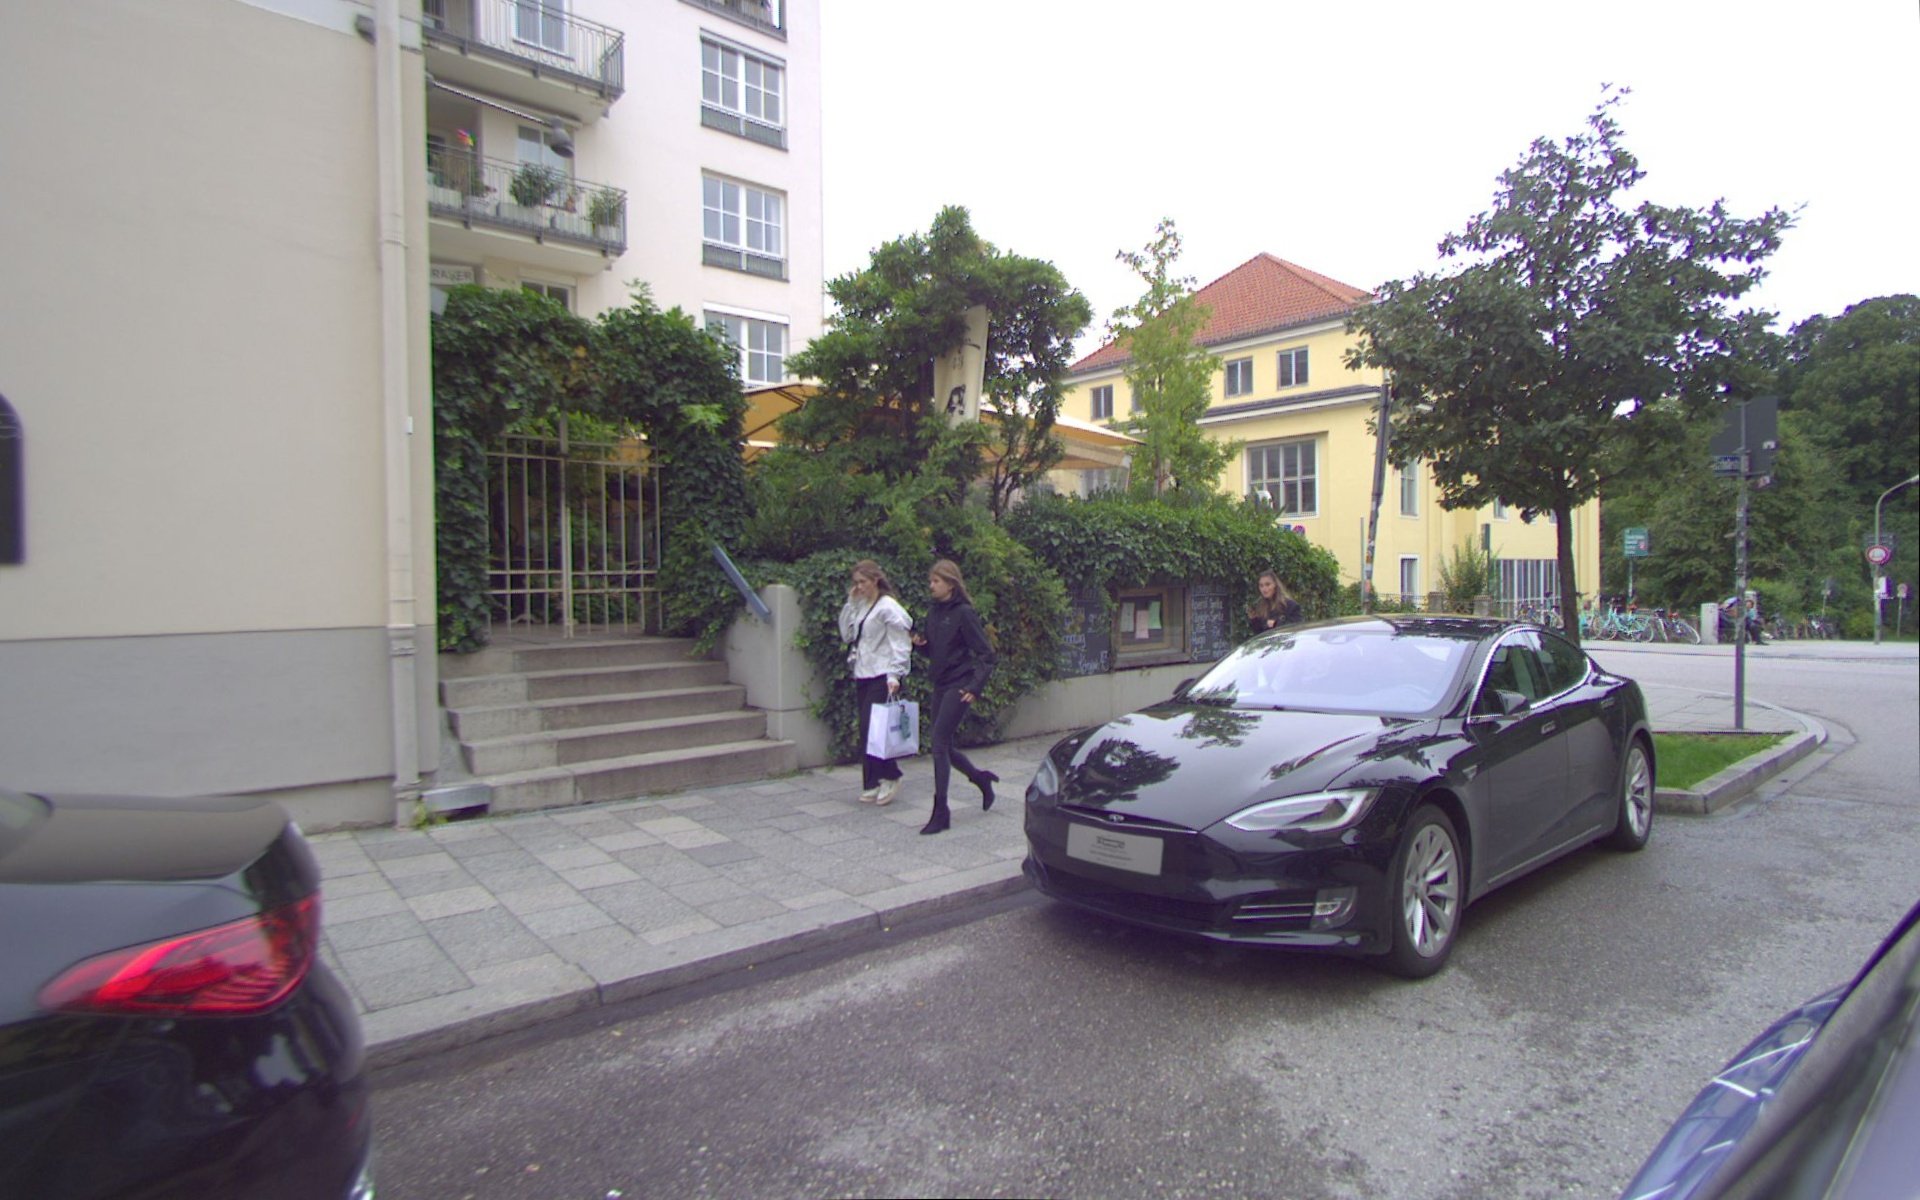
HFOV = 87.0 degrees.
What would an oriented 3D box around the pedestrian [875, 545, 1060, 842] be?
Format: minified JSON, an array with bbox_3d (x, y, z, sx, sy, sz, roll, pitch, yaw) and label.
[{"bbox_3d":[0.051,0.512,6.290,0.866,1.682,0.706,-3,2,-42],"label":"pedestrian"}]

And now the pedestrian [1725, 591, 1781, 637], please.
[{"bbox_3d":[22.502,0.416,28.740,1.210,1.264,0.630,-1,-4,39],"label":"pedestrian"}]

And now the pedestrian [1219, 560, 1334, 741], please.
[{"bbox_3d":[3.070,0.446,9.809,0.866,1.642,0.706,-3,2,-42],"label":"pedestrian"}]

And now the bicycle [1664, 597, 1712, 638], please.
[{"bbox_3d":[19.833,0.483,27.553,1.620,1.051,0.308,2,0,-26],"label":"bicycle"}]

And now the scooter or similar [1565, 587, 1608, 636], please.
[{"bbox_3d":[16.183,0.283,26.158,0.317,1.228,1.118,1,0,-4],"label":"scooter or similar"}]

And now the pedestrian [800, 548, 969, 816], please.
[{"bbox_3d":[-0.511,0.498,6.906,0.866,1.682,0.706,-3,2,-42],"label":"pedestrian"}]

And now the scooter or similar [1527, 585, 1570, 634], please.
[{"bbox_3d":[15.537,0.249,26.715,1.363,1.264,0.397,1,0,-32],"label":"scooter or similar"}]

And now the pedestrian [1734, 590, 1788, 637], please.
[{"bbox_3d":[23.210,0.402,29.338,1.172,1.310,0.630,-2,-4,39],"label":"pedestrian"}]

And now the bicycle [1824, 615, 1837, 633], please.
[{"bbox_3d":[34.799,0.966,40.459,0.892,0.684,0.215,2,0,-39],"label":"bicycle"}]

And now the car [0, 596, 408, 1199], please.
[{"bbox_3d":[-3.116,0.765,0.827,4.433,1.443,1.647,-1,-2,-43],"label":"car"}]

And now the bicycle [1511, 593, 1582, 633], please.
[{"bbox_3d":[15.965,0.350,27.581,1.637,1.006,0.246,2,0,26],"label":"bicycle"}]

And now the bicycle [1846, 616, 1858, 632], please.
[{"bbox_3d":[38.228,1.026,43.377,0.893,0.665,0.242,2,0,-40],"label":"bicycle"}]

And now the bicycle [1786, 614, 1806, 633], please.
[{"bbox_3d":[29.677,0.835,35.939,0.890,0.684,0.216,2,0,-29],"label":"bicycle"}]

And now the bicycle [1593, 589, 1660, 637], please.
[{"bbox_3d":[17.882,0.342,27.161,1.623,1.206,0.202,2,0,1],"label":"bicycle"}]

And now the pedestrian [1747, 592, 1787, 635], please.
[{"bbox_3d":[23.702,0.407,29.748,0.883,1.251,0.542,-2,-4,39],"label":"pedestrian"}]

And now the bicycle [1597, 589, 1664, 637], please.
[{"bbox_3d":[17.868,0.338,26.963,1.623,1.213,0.169,2,0,1],"label":"bicycle"}]

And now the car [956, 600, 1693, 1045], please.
[{"bbox_3d":[2.296,0.747,5.554,4.575,1.428,1.805,-1,0,-41],"label":"car"}]
